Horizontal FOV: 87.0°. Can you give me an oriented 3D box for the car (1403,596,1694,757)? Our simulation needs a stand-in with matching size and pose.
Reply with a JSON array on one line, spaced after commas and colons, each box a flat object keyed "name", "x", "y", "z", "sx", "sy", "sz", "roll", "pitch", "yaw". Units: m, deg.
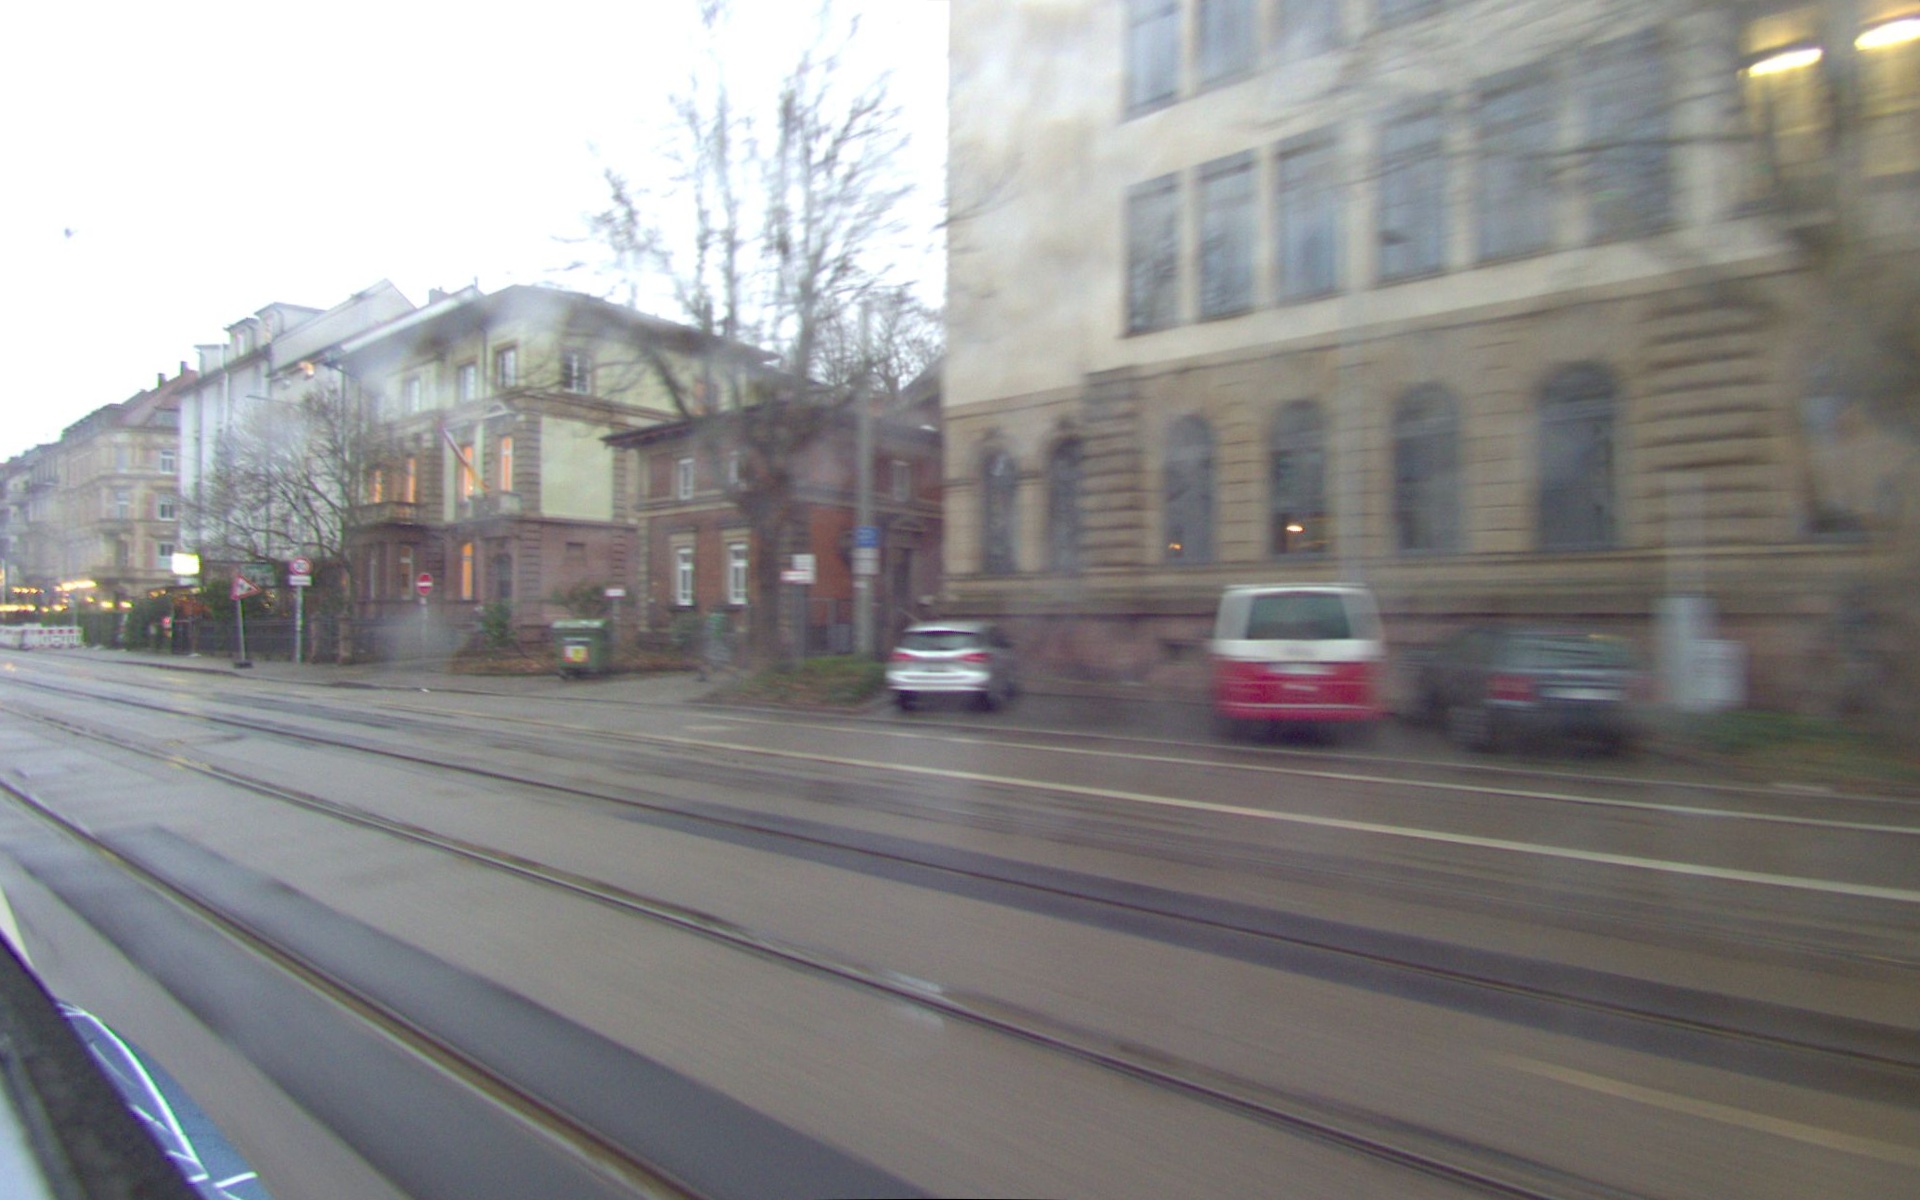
[{"name": "car", "x": 6.809, "y": 0.780, "z": 12.236, "sx": 1.804, "sy": 1.551, "sz": 3.963, "roll": -1, "pitch": 1, "yaw": 11}]

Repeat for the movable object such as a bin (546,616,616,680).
[{"name": "movable object such as a bin", "x": -9.277, "y": 1.157, "z": 24.814, "sx": 1.326, "sy": 1.475, "sz": 0.986, "roll": -1, "pitch": 1, "yaw": 2}]

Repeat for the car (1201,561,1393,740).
[{"name": "car", "x": 4.477, "y": 0.562, "z": 14.134, "sx": 1.945, "sy": 2.069, "sz": 4.606, "roll": -1, "pitch": 1, "yaw": 11}]

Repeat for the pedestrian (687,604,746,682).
[{"name": "pedestrian", "x": -5.563, "y": 0.967, "z": 23.160, "sx": 0.940, "sy": 1.716, "sz": 0.919, "roll": -1, "pitch": 1, "yaw": 17}]

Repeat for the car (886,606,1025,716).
[{"name": "car", "x": 0.053, "y": 0.980, "z": 17.873, "sx": 1.755, "sy": 1.603, "sz": 4.173, "roll": -1, "pitch": 1, "yaw": 9}]

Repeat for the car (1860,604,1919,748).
[{"name": "car", "x": 10.663, "y": 0.800, "z": 9.278, "sx": 1.617, "sy": 1.468, "sz": 3.821, "roll": -1, "pitch": 1, "yaw": 5}]
